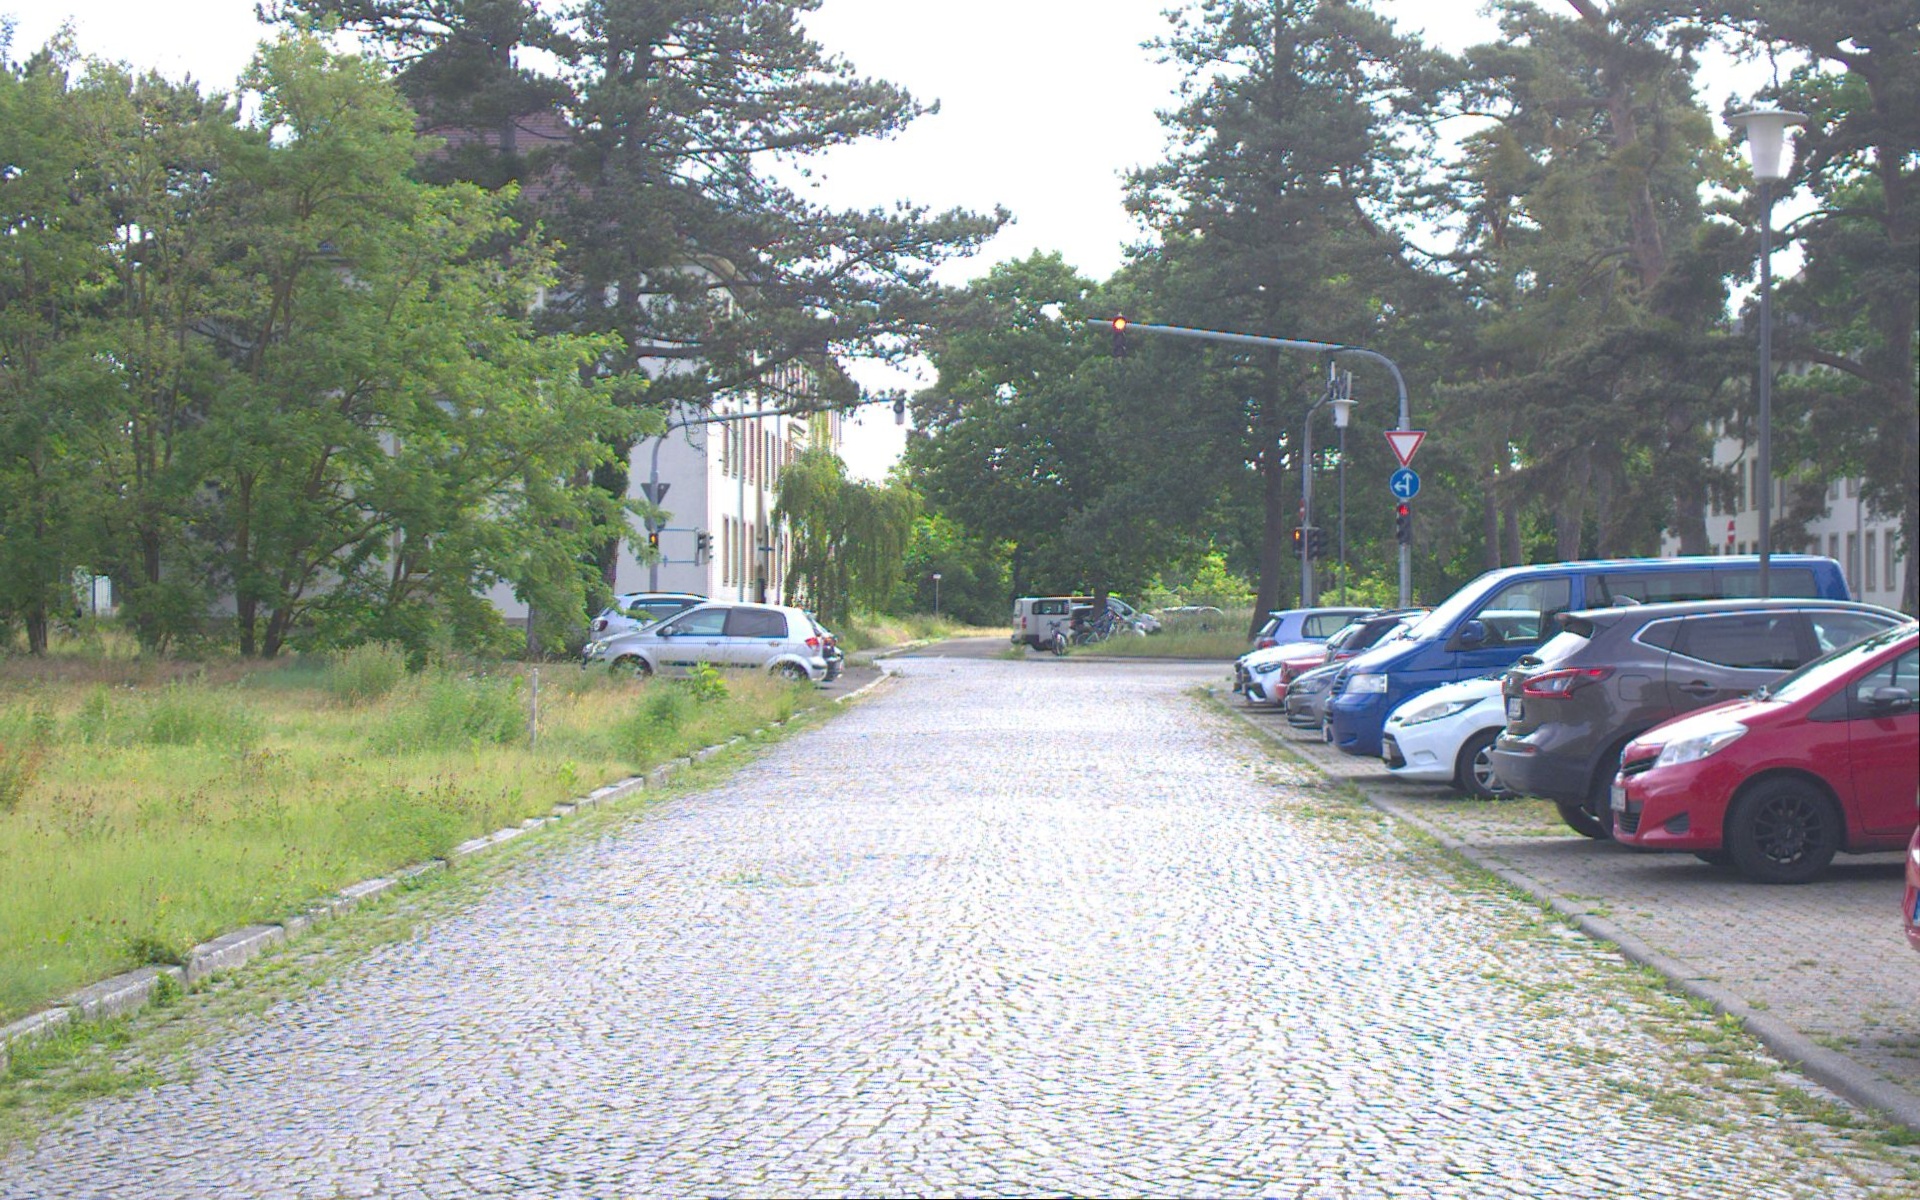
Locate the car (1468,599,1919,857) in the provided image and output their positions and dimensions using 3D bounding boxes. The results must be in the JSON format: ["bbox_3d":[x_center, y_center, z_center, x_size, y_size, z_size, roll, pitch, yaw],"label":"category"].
[{"bbox_3d":[5.387,0.798,22.188,3.950,1.575,1.762,1,0,0],"label":"car"}]

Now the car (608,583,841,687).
[{"bbox_3d":[-4.129,0.602,60.015,3.986,1.744,1.927,1,0,-5],"label":"car"}]

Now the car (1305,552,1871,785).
[{"bbox_3d":[5.608,0.595,31.093,4.782,2.033,1.738,0,0,0],"label":"car"}]

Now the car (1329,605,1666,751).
[{"bbox_3d":[5.660,0.809,36.453,3.292,1.499,1.664,0,0,0],"label":"car"}]

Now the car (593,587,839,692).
[{"bbox_3d":[-4.044,0.639,56.926,3.986,1.700,2.000,0,0,-4],"label":"car"}]

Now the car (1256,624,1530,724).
[{"bbox_3d":[5.644,0.956,45.053,3.292,1.263,1.664,0,0,-4],"label":"car"}]

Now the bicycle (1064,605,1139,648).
[{"bbox_3d":[4.277,0.794,103.973,2.160,1.264,0.812,0,0,-5],"label":"bicycle"}]

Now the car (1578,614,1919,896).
[{"bbox_3d":[5.659,0.852,19.582,3.987,1.513,1.738,0,0,2],"label":"car"}]

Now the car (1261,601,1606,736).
[{"bbox_3d":[5.408,0.773,39.465,3.597,1.501,1.664,0,0,-9],"label":"car"}]

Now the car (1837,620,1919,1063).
[{"bbox_3d":[5.200,0.810,11.967,3.839,1.500,1.738,-1,0,1],"label":"car"}]

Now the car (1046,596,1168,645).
[{"bbox_3d":[5.050,0.709,118.501,3.986,1.638,2.000,1,0,-4],"label":"car"}]

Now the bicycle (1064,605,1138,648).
[{"bbox_3d":[4.288,0.801,104.560,2.160,1.264,0.812,0,0,-5],"label":"bicycle"}]

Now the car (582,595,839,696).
[{"bbox_3d":[-3.949,0.709,54.434,3.986,1.547,2.000,0,0,-4],"label":"car"}]

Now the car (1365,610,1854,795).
[{"bbox_3d":[5.351,0.828,28.624,3.722,1.419,1.654,-1,0,-1],"label":"car"}]

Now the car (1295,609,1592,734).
[{"bbox_3d":[5.940,0.866,42.420,3.291,1.499,1.664,0,0,-9],"label":"car"}]

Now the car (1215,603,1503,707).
[{"bbox_3d":[6.044,0.832,52.340,4.122,1.538,1.664,0,0,-4],"label":"car"}]

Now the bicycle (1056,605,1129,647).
[{"bbox_3d":[4.083,0.810,105.781,2.160,1.264,0.812,0,0,-5],"label":"bicycle"}]

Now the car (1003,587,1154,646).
[{"bbox_3d":[4.171,0.590,121.810,5.049,2.007,2.000,1,0,-9],"label":"car"}]

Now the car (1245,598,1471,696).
[{"bbox_3d":[6.339,0.740,54.901,3.388,1.538,1.391,0,0,-4],"label":"car"}]

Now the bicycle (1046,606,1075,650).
[{"bbox_3d":[2.924,0.817,100.257,0.810,1.264,1.973,0,0,3],"label":"bicycle"}]

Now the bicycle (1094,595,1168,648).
[{"bbox_3d":[5.239,0.659,105.239,2.160,1.610,0.812,0,0,-5],"label":"bicycle"}]

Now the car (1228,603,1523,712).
[{"bbox_3d":[5.963,0.819,49.591,3.986,1.538,1.664,0,0,-4],"label":"car"}]
